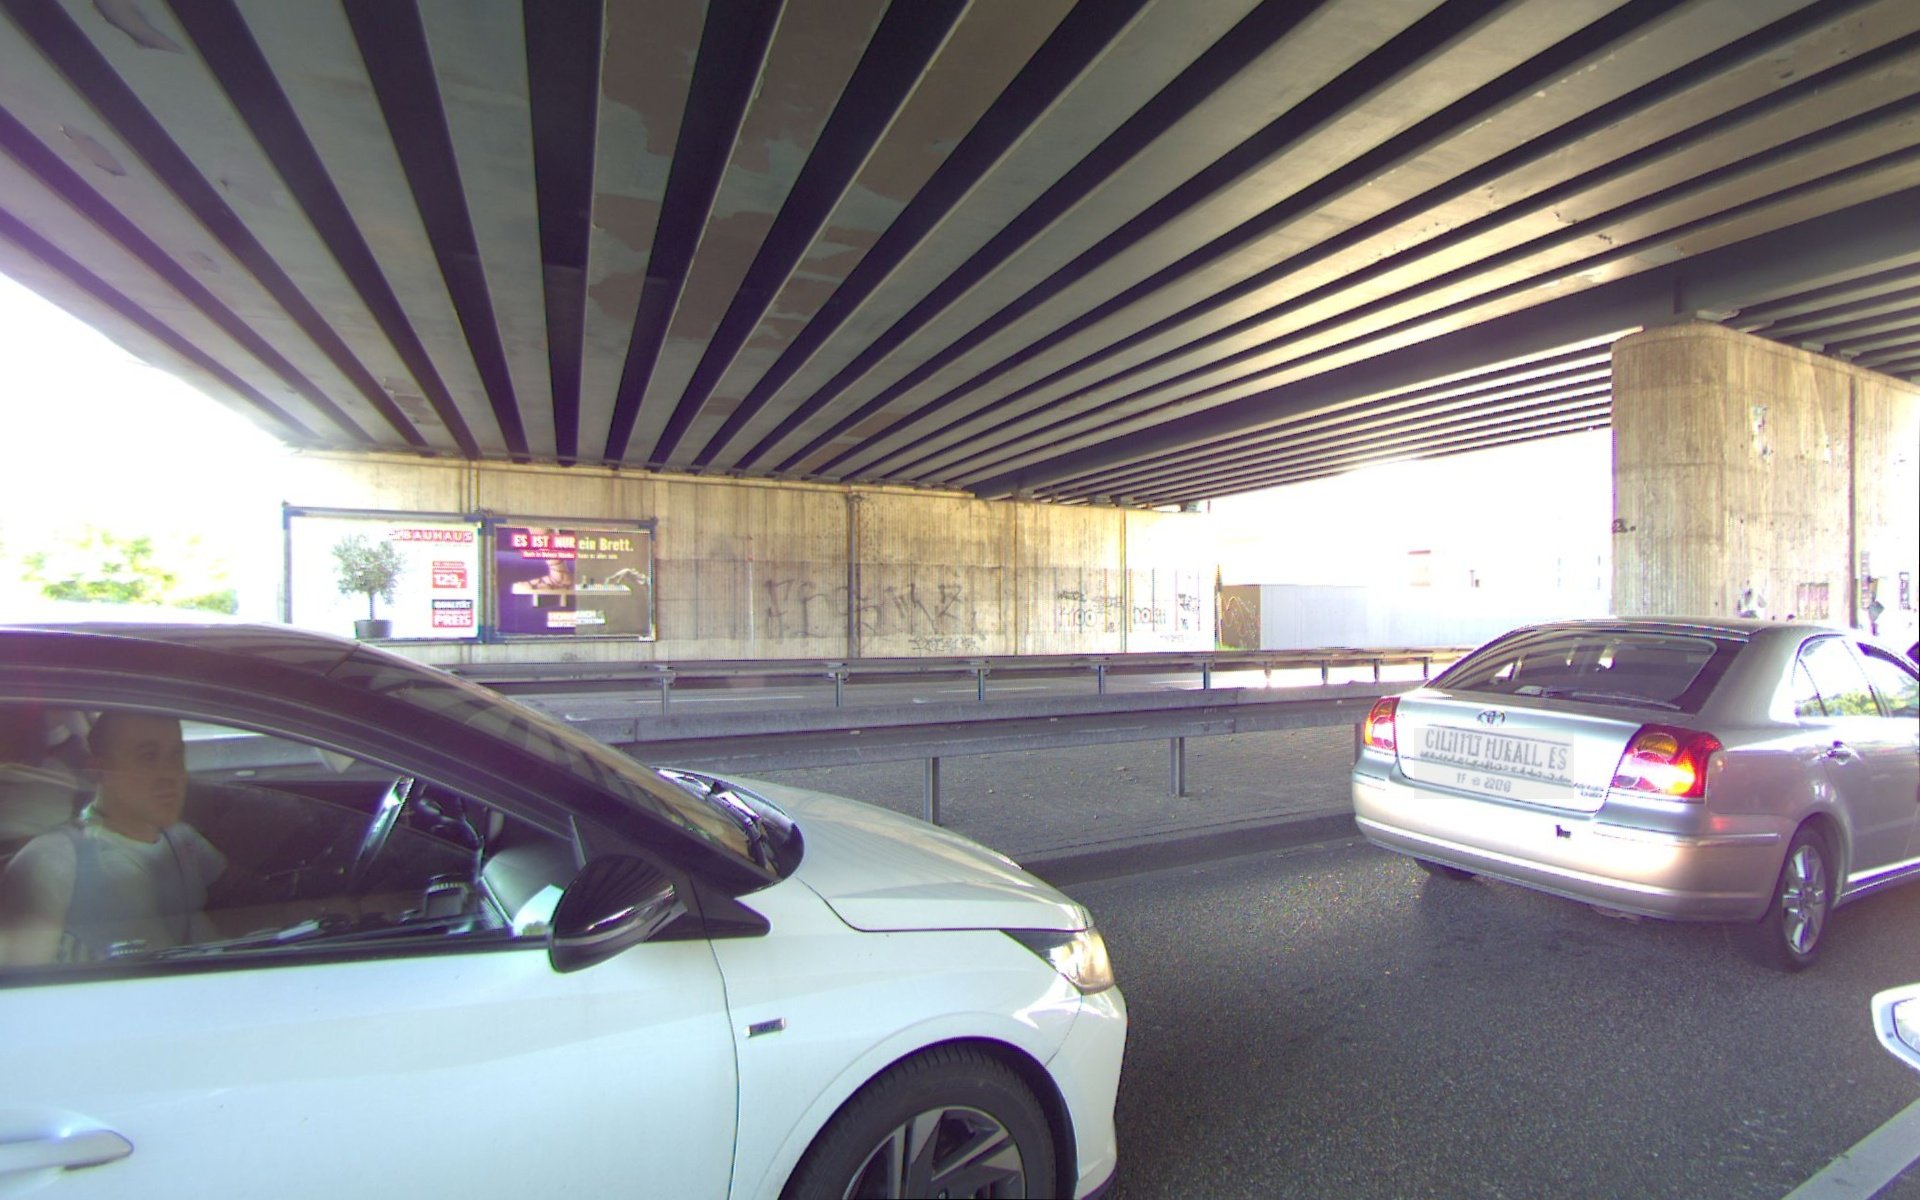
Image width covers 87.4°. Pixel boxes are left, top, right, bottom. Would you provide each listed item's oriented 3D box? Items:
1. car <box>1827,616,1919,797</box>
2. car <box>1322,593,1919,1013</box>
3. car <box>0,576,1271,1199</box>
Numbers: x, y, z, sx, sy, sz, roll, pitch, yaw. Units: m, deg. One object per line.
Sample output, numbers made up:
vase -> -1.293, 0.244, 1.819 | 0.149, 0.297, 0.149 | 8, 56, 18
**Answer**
car -> 9.544, 0.884, 8.861 | 3.687, 1.457, 1.804 | 0, 0, -31
car -> 4.088, 0.771, 5.456 | 4.270, 1.499, 1.724 | 1, -1, -32
car -> -1.422, 0.728, 1.963 | 3.946, 1.499, 1.724 | 1, -1, -32
